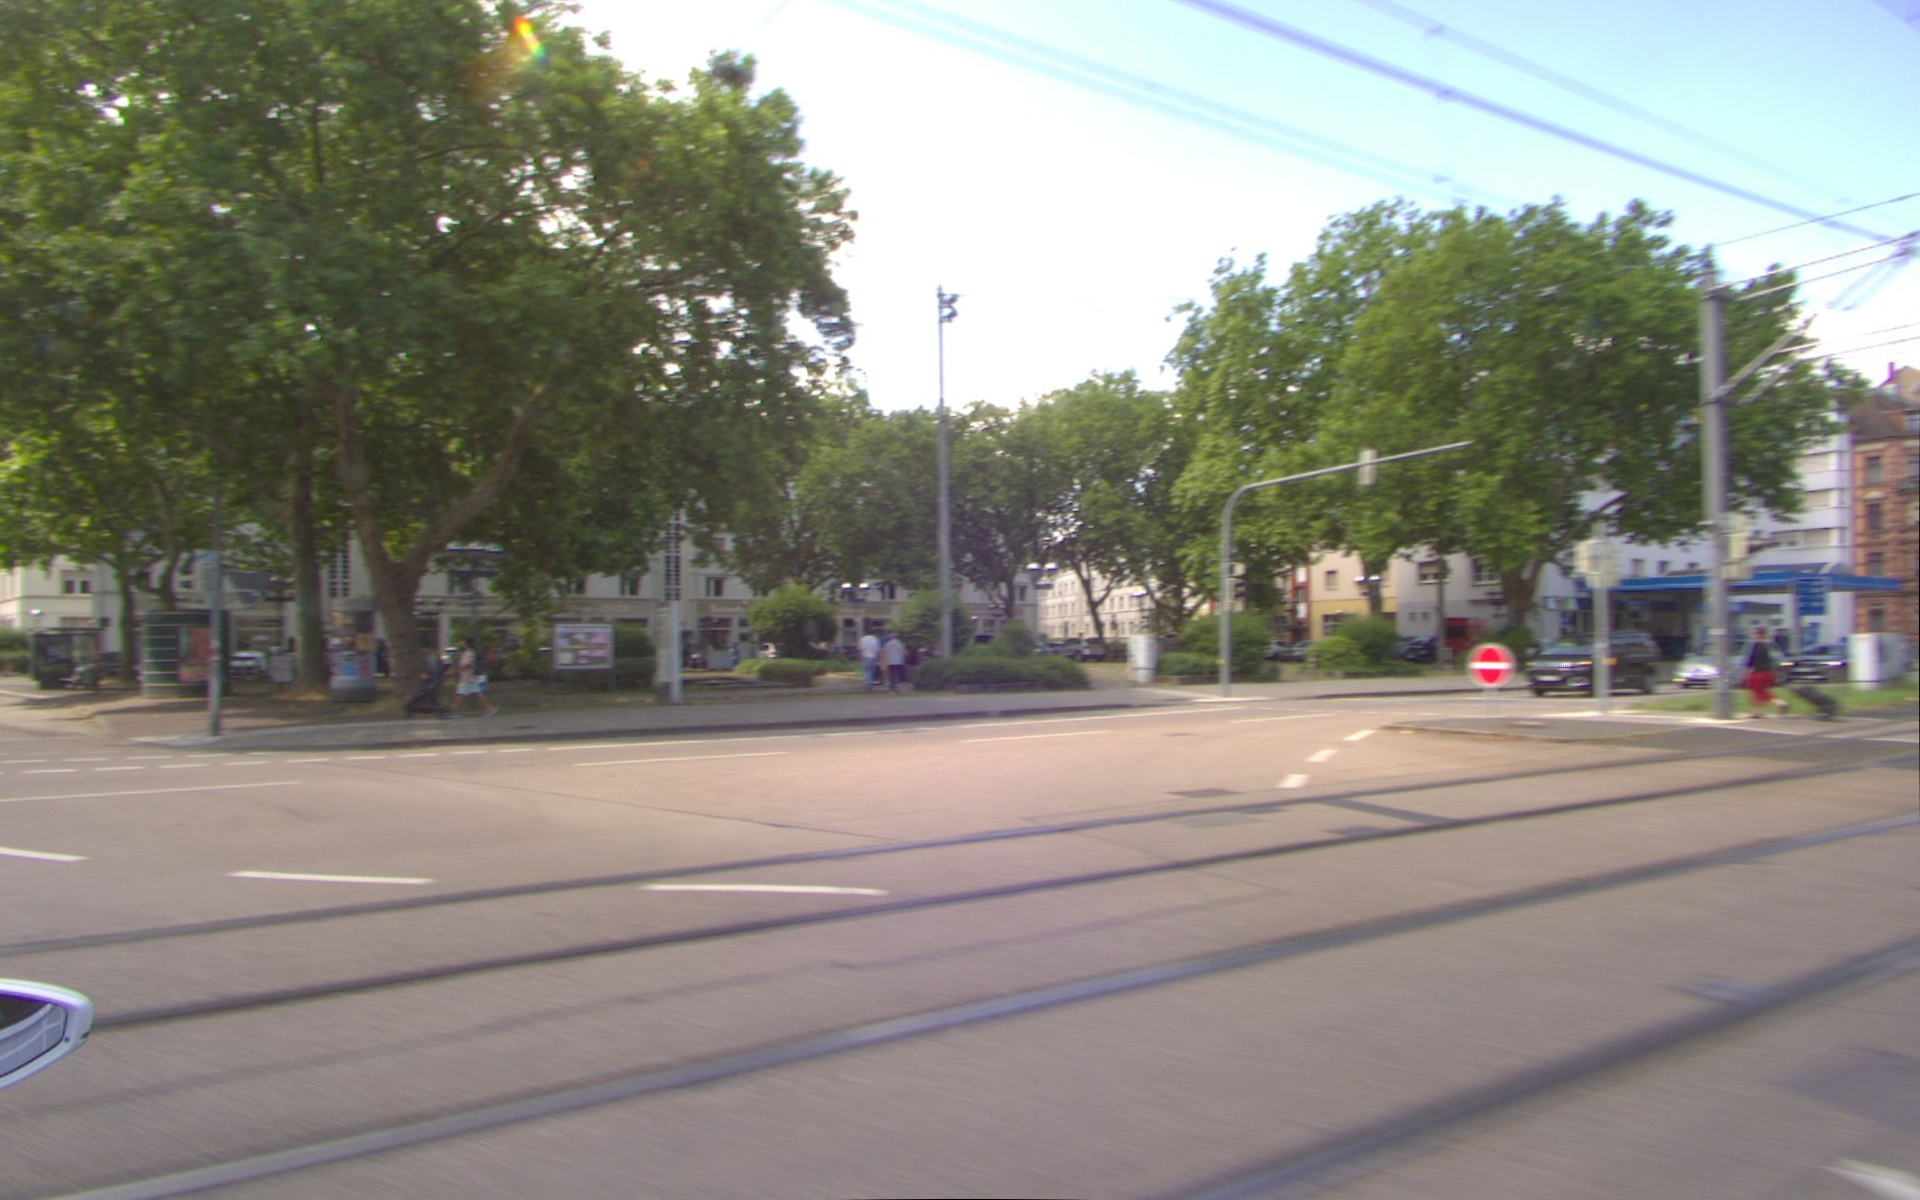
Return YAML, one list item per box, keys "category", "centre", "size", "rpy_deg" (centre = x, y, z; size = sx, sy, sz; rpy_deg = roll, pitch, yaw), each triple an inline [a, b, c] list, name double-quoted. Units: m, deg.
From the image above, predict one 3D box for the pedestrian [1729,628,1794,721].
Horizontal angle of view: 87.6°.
- category: "pedestrian"
  centre: [13.538, 1.241, 16.918]
  size: [0.651, 1.511, 0.768]
  rpy_deg: [1, -1, -42]

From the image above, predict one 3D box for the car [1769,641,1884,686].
- category: "car"
  centre: [30.917, 2.224, 35.710]
  size: [3.915, 1.465, 1.846]
  rpy_deg: [0, -2, -29]

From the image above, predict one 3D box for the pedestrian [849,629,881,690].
- category: "pedestrian"
  centre: [-2.829, 1.761, 29.790]
  size: [0.683, 1.786, 0.666]
  rpy_deg: [-1, -1, 36]

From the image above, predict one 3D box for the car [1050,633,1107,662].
- category: "car"
  centre: [7.811, 3.154, 66.204]
  size: [1.841, 1.823, 3.984]
  rpy_deg: [0, -2, -28]

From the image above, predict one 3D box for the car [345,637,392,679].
- category: "car"
  centre: [-31.107, 3.032, 52.742]
  size: [1.971, 2.102, 3.982]
  rpy_deg: [1, -3, -29]

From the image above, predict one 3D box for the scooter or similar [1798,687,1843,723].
- category: "scooter or similar"
  centre: [14.117, 1.719, 16.425]
  size: [0.307, 0.543, 0.516]
  rpy_deg: [1, 0, -42]

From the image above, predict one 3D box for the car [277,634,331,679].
- category: "car"
  centre: [-33.342, 2.844, 50.999]
  size: [1.971, 2.210, 4.238]
  rpy_deg: [1, -3, -29]

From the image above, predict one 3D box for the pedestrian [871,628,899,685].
- category: "pedestrian"
  centre: [-2.401, 1.796, 31.970]
  size: [0.598, 1.773, 0.694]
  rpy_deg: [-1, -1, 36]

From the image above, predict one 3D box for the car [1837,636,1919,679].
- category: "car"
  centre: [35.994, 2.199, 38.981]
  size: [3.699, 1.583, 1.678]
  rpy_deg: [1, -2, -30]

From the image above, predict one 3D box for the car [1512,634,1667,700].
- category: "car"
  centre: [17.751, 1.825, 28.204]
  size: [4.354, 1.749, 1.846]
  rpy_deg: [1, -2, -29]

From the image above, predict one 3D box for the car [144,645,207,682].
- category: "car"
  centre: [-38.144, 3.057, 48.778]
  size: [1.885, 1.711, 4.515]
  rpy_deg: [1, -2, -31]

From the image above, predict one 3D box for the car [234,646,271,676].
- category: "car"
  centre: [-35.180, 3.004, 49.784]
  size: [1.452, 1.406, 3.214]
  rpy_deg: [1, -3, -36]

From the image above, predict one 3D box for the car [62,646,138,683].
- category: "car"
  centre: [-40.598, 3.021, 47.366]
  size: [2.006, 1.620, 4.515]
  rpy_deg: [1, -3, -31]

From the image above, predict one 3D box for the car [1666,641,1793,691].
- category: "car"
  centre: [24.697, 2.068, 32.123]
  size: [4.265, 1.484, 1.726]
  rpy_deg: [1, -2, -30]

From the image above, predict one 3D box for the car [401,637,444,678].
- category: "car"
  centre: [-28.820, 3.045, 53.662]
  size: [1.971, 2.102, 3.982]
  rpy_deg: [1, -3, -29]

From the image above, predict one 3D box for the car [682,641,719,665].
- category: "car"
  centre: [-18.699, 3.825, 72.093]
  size: [1.718, 1.657, 3.984]
  rpy_deg: [0, -2, -28]

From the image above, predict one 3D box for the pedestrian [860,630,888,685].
- category: "pedestrian"
  centre: [-2.854, 1.903, 33.278]
  size: [0.598, 1.773, 0.694]
  rpy_deg: [-1, -1, 37]

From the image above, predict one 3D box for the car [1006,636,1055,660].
- category: "car"
  centre: [5.180, 3.568, 73.912]
  size: [1.827, 1.701, 3.984]
  rpy_deg: [0, -2, -28]

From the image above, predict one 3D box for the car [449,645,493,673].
- category: "car"
  centre: [-26.896, 3.213, 54.977]
  size: [1.971, 1.440, 3.982]
  rpy_deg: [1, -3, -29]

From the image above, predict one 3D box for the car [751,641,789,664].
- category: "car"
  centre: [-14.262, 3.895, 75.001]
  size: [1.718, 1.657, 3.984]
  rpy_deg: [0, -2, -28]

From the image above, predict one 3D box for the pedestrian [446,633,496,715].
- category: "pedestrian"
  centre: [-10.158, 1.515, 20.786]
  size: [0.909, 1.667, 0.568]
  rpy_deg: [1, -1, -28]

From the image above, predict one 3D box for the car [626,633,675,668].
- category: "car"
  centre: [-18.829, 3.071, 60.887]
  size: [1.972, 2.039, 3.979]
  rpy_deg: [0, -2, -31]

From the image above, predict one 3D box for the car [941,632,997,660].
- category: "car"
  centre: [0.597, 3.267, 71.438]
  size: [2.073, 1.929, 4.473]
  rpy_deg: [0, -2, -28]

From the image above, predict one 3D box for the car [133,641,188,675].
- category: "car"
  centre: [-45.263, 3.270, 56.798]
  size: [1.886, 1.818, 4.695]
  rpy_deg: [1, -2, -32]

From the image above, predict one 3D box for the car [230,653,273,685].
- category: "car"
  centre: [-32.909, 3.156, 46.486]
  size: [1.453, 1.406, 3.044]
  rpy_deg: [1, -3, -38]

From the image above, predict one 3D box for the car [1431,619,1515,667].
- category: "car"
  centre: [27.203, 2.247, 53.112]
  size: [3.942, 2.451, 2.103]
  rpy_deg: [1, -2, -29]

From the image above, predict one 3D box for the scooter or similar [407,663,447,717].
- category: "scooter or similar"
  centre: [-10.869, 1.821, 20.421]
  size: [0.698, 1.069, 0.488]
  rpy_deg: [1, -1, -28]

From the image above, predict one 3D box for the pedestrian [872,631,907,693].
- category: "pedestrian"
  centre: [-2.003, 1.743, 28.372]
  size: [0.683, 1.744, 0.715]
  rpy_deg: [-1, -1, 36]
